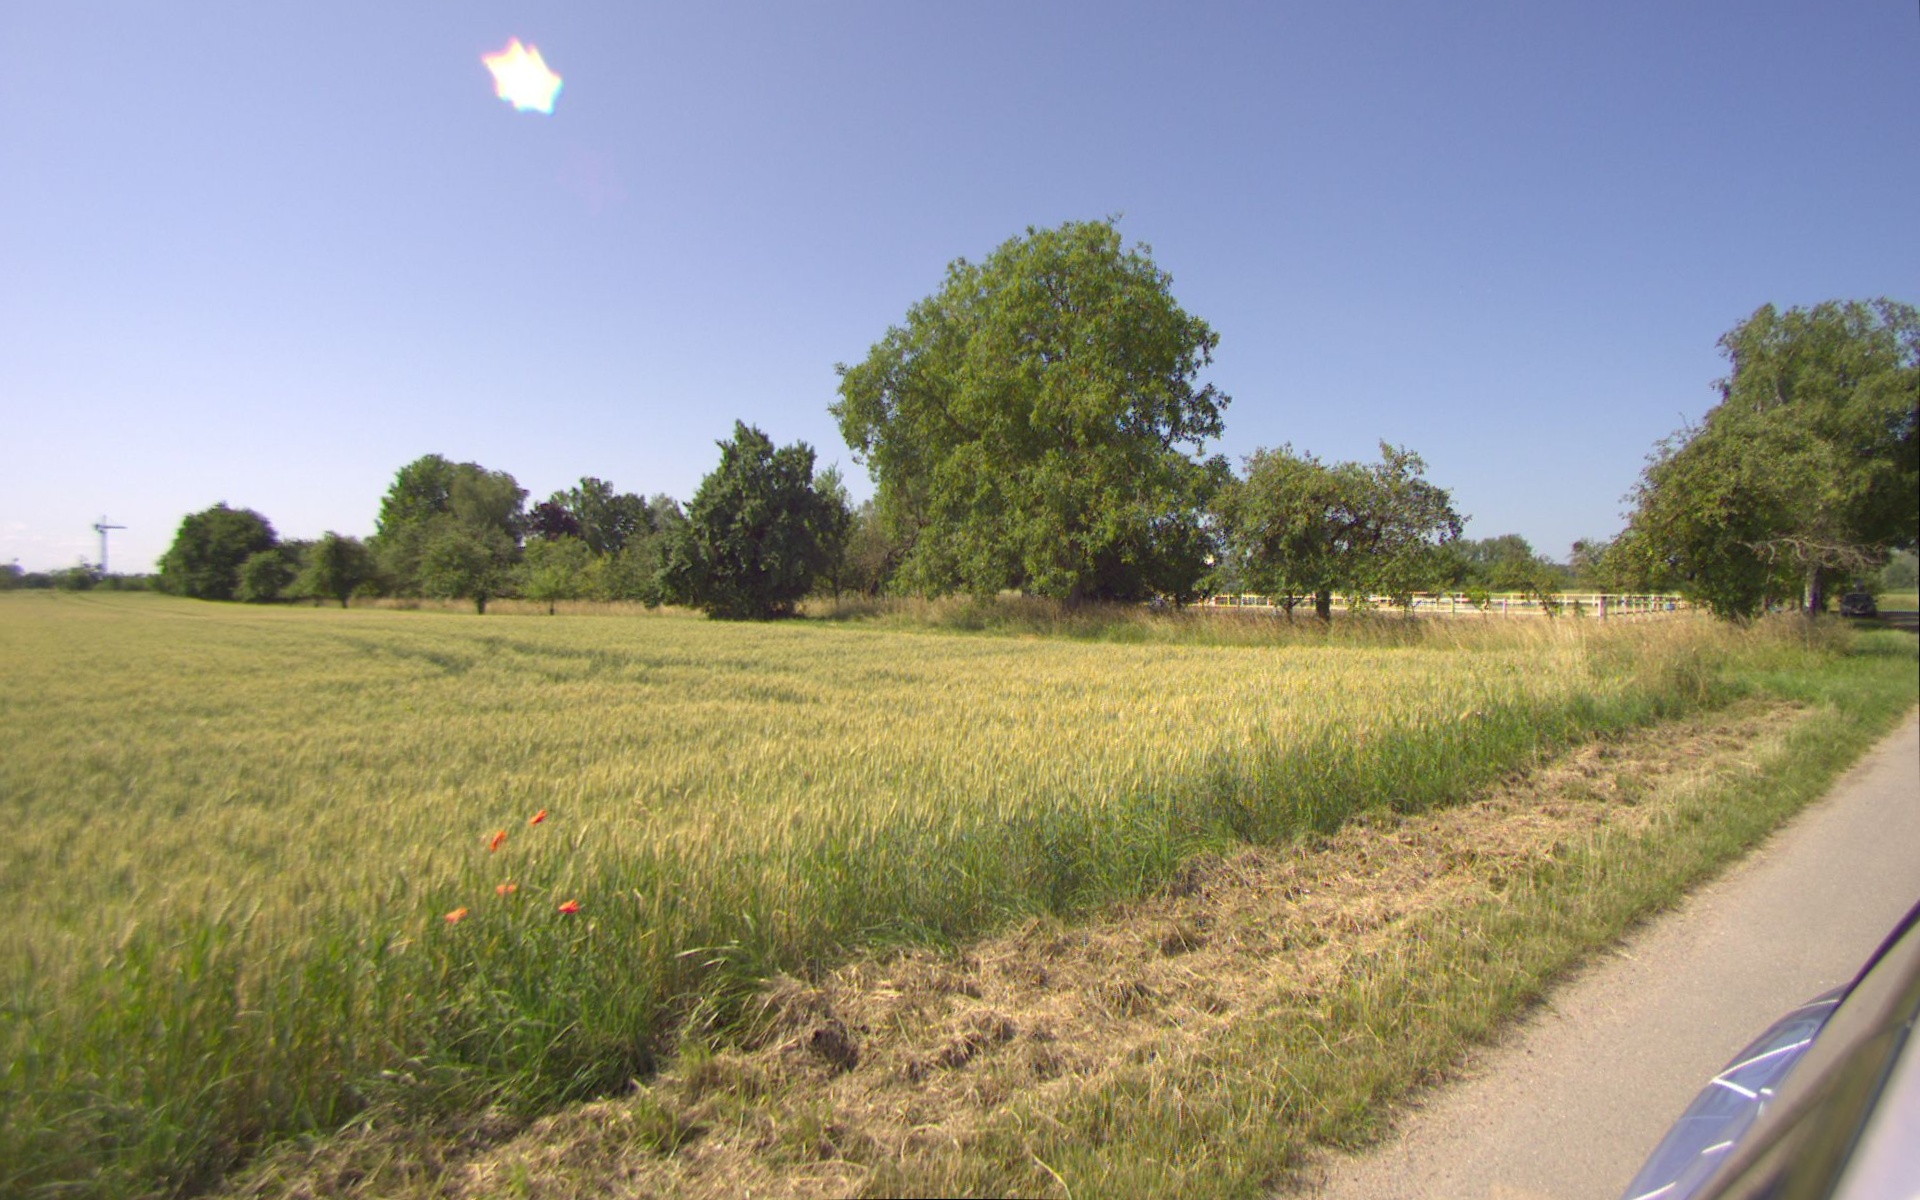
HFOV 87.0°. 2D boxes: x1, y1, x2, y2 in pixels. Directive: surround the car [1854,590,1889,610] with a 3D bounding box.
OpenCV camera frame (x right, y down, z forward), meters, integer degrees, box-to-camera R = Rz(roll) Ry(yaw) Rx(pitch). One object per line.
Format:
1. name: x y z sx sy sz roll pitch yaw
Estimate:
1. car: 62.652 -0.009 69.606 1.715 1.337 3.688 0 1 40
